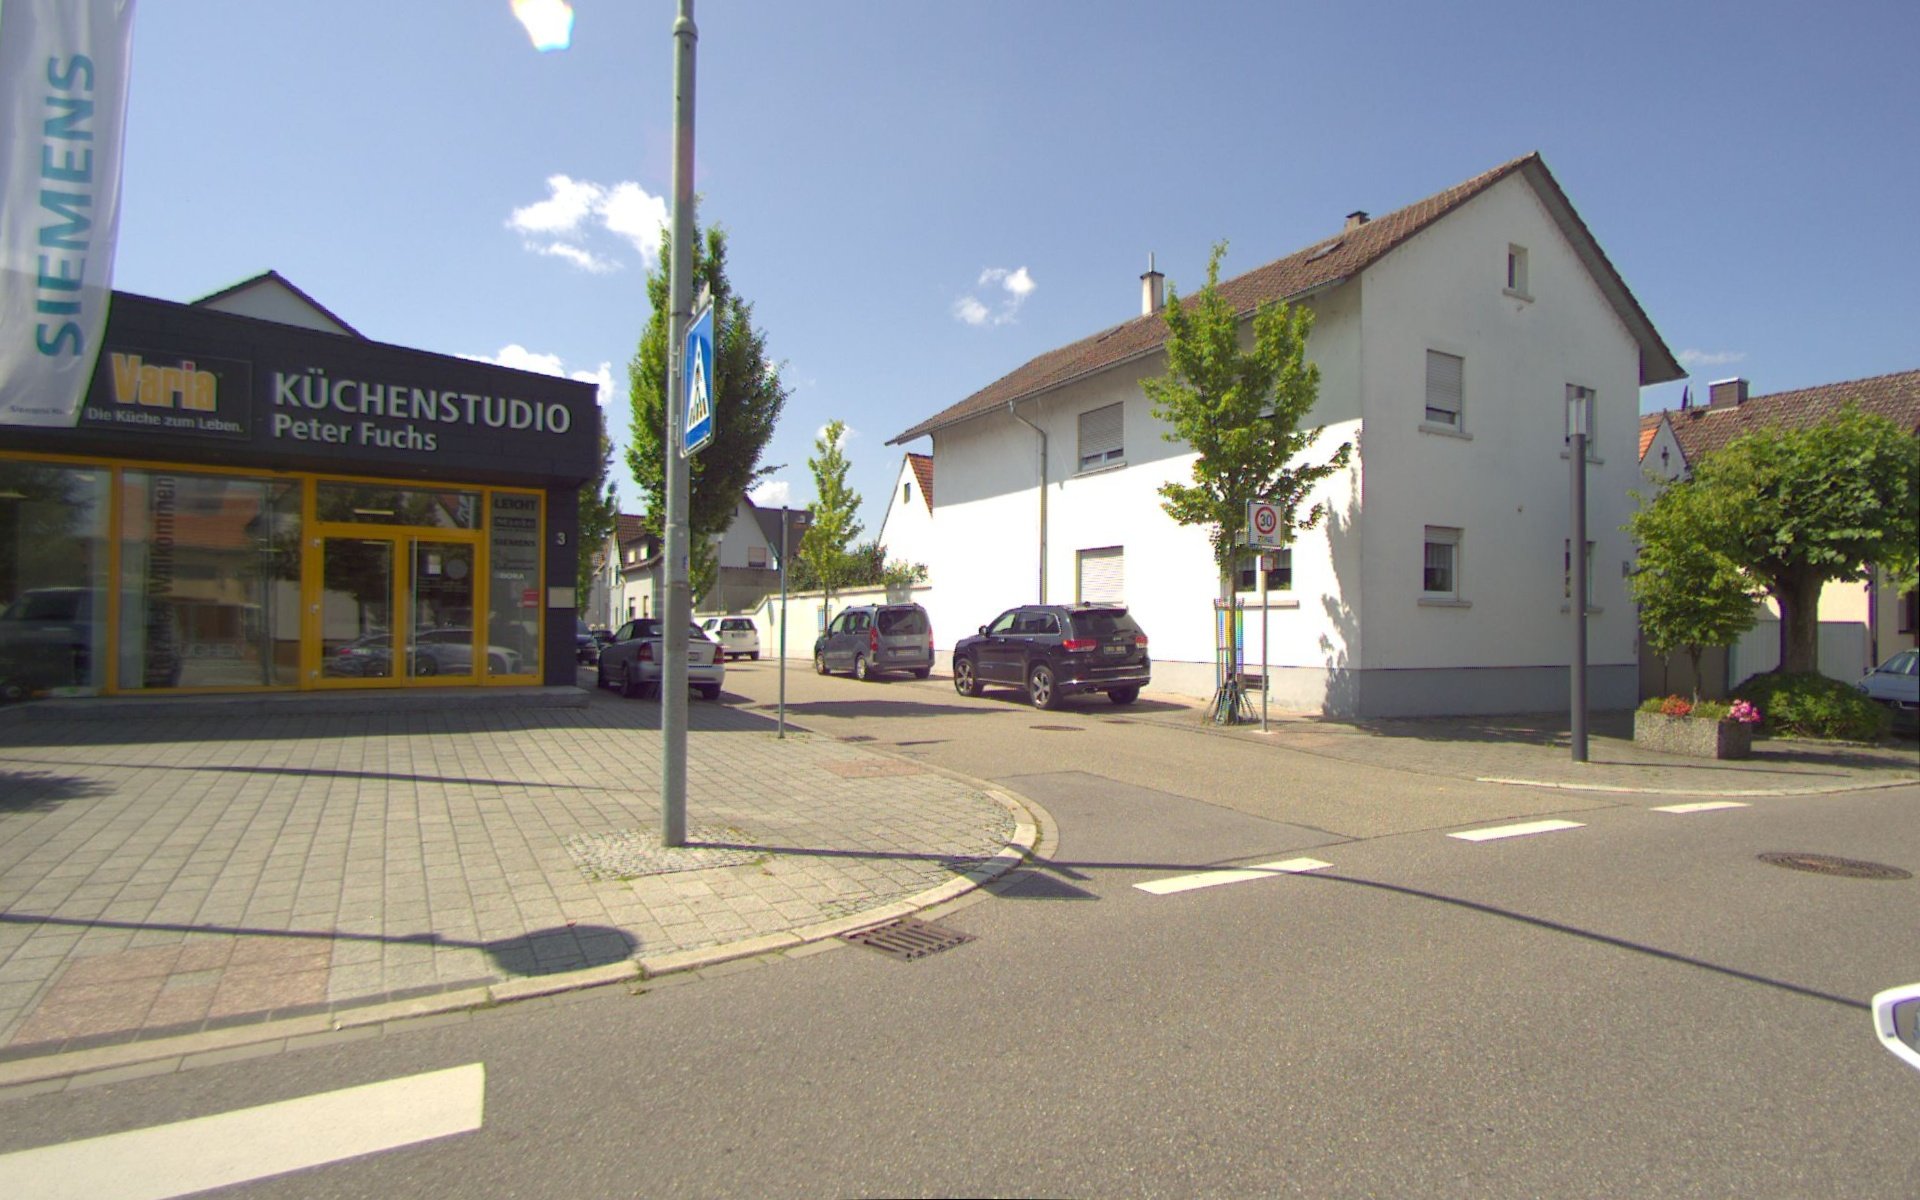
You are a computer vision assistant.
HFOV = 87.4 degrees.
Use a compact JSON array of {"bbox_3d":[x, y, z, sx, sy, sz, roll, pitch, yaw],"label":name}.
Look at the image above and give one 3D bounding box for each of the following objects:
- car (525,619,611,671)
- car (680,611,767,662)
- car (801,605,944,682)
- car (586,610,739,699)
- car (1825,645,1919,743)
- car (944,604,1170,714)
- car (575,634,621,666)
[{"bbox_3d":[-12.578,1.463,32.083,1.846,1.481,4.404,4,-5,-30],"label":"car"},{"bbox_3d":[-8.769,1.309,37.008,1.976,1.763,4.405,0,-1,-29],"label":"car"},{"bbox_3d":[-2.314,1.045,25.366,1.976,1.763,4.405,0,-1,-29],"label":"car"},{"bbox_3d":[-5.759,0.955,19.072,1.845,1.482,4.404,2,-2,-29],"label":"car"},{"bbox_3d":[16.732,1.572,17.086,4.084,1.502,1.816,2,-1,-30],"label":"car"},{"bbox_3d":[1.627,0.996,18.444,1.976,1.738,4.405,0,-1,-29],"label":"car"},{"bbox_3d":[-22.119,3.007,61.276,1.976,1.763,4.405,0,-1,-29],"label":"car"}]
